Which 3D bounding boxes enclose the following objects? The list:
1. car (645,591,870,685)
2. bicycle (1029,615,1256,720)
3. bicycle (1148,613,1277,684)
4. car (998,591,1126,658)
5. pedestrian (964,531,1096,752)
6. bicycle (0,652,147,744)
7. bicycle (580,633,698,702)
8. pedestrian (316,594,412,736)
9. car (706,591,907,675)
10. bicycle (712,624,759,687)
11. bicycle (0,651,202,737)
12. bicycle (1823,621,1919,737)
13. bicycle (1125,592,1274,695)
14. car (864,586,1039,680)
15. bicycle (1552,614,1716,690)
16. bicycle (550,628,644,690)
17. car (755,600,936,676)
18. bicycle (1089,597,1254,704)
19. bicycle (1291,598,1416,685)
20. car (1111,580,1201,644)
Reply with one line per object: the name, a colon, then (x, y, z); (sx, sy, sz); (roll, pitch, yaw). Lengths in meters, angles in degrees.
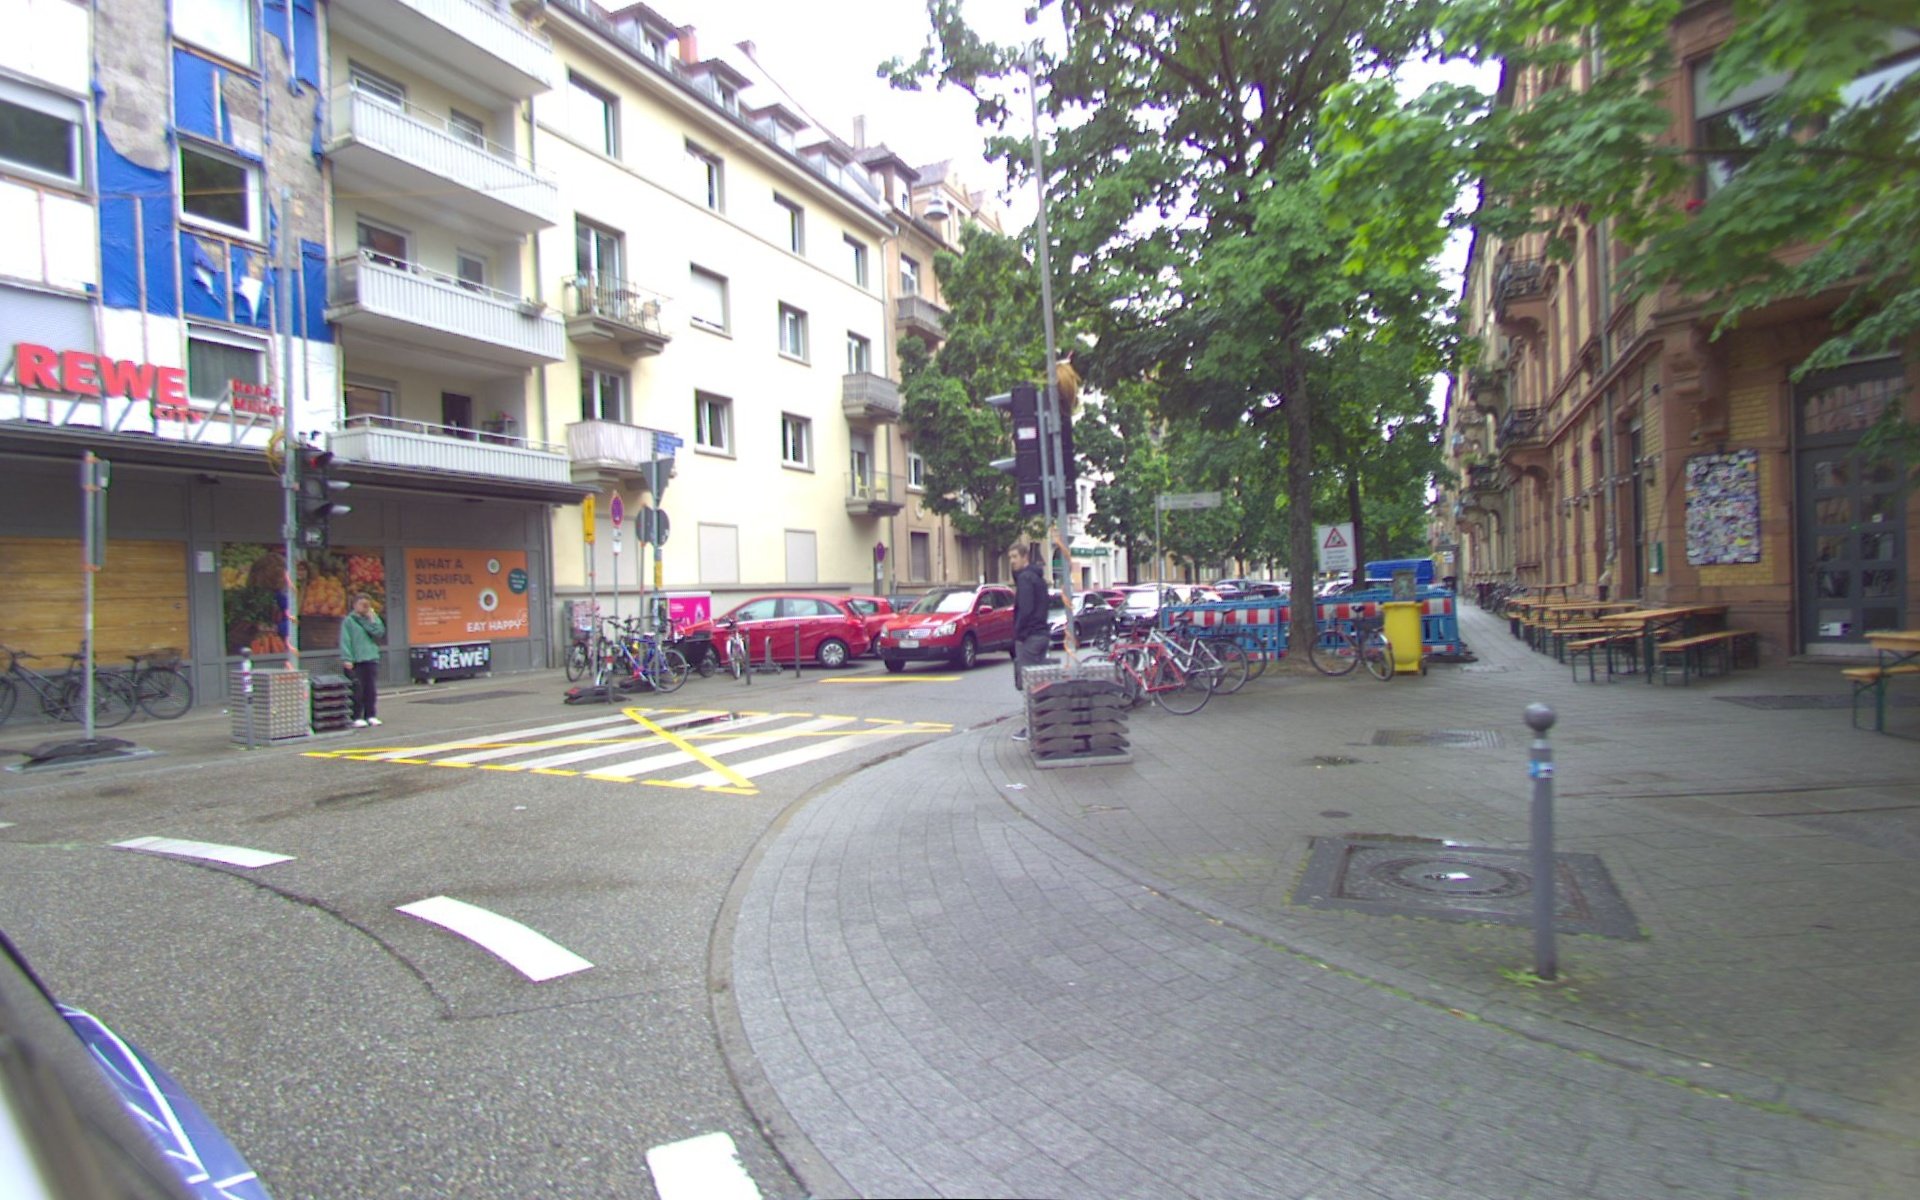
car: (-4.140, 0.752, 21.333); (4.391, 1.693, 2.002); (-2, 0, -5)
bicycle: (2.032, 0.771, 11.575); (2.412, 1.052, 0.854); (-4, -2, 41)
bicycle: (3.691, 0.708, 14.848); (1.720, 0.968, 0.582); (-2, 0, 36)
car: (2.748, 0.582, 26.401); (1.834, 1.488, 4.347); (-3, 0, 27)
pedestrian: (0.696, 0.384, 9.931); (0.862, 2.029, 0.934); (-2, 0, 35)
bicycle: (-11.049, 1.190, 12.366); (1.663, 0.978, 0.570); (-3, 0, -35)
bicycle: (-5.080, 1.038, 15.968); (1.993, 0.978, 0.584); (0, 1, 30)
pedestrian: (-7.194, 0.754, 12.230); (0.603, 1.627, 0.790); (-1, 1, 35)
car: (-3.504, 0.734, 23.647); (4.391, 1.684, 2.002); (-2, 0, -5)
bicycle: (-4.076, 0.986, 18.492); (0.580, 0.978, 2.004); (-1, 1, -5)
bicycle: (-11.165, 1.191, 13.244); (1.968, 0.978, 0.591); (0, -1, -35)
bicycle: (7.232, 0.587, 7.487); (0.399, 0.821, 1.396); (-2, 0, -4)
bicycle: (3.171, 0.606, 13.523); (1.865, 1.285, 0.469); (-5, -2, 41)
car: (-0.036, 0.613, 20.589); (1.833, 1.652, 4.350); (-3, -1, 25)
bicycle: (7.848, 0.578, 11.850); (0.399, 0.821, 1.550); (-2, 0, -34)
bicycle: (-6.675, 1.062, 18.713); (0.584, 0.978, 1.991); (0, 1, 16)
car: (-2.918, 0.940, 26.032); (4.391, 1.684, 2.002); (-2, 0, -5)
bicycle: (2.714, 0.675, 13.140); (2.002, 1.285, 0.581); (-5, -2, 41)
bicycle: (5.451, 0.538, 14.213); (0.732, 1.100, 2.413); (-2, 0, -1)
car: (6.239, 0.321, 31.846); (1.831, 1.810, 4.354); (-3, 0, 23)
